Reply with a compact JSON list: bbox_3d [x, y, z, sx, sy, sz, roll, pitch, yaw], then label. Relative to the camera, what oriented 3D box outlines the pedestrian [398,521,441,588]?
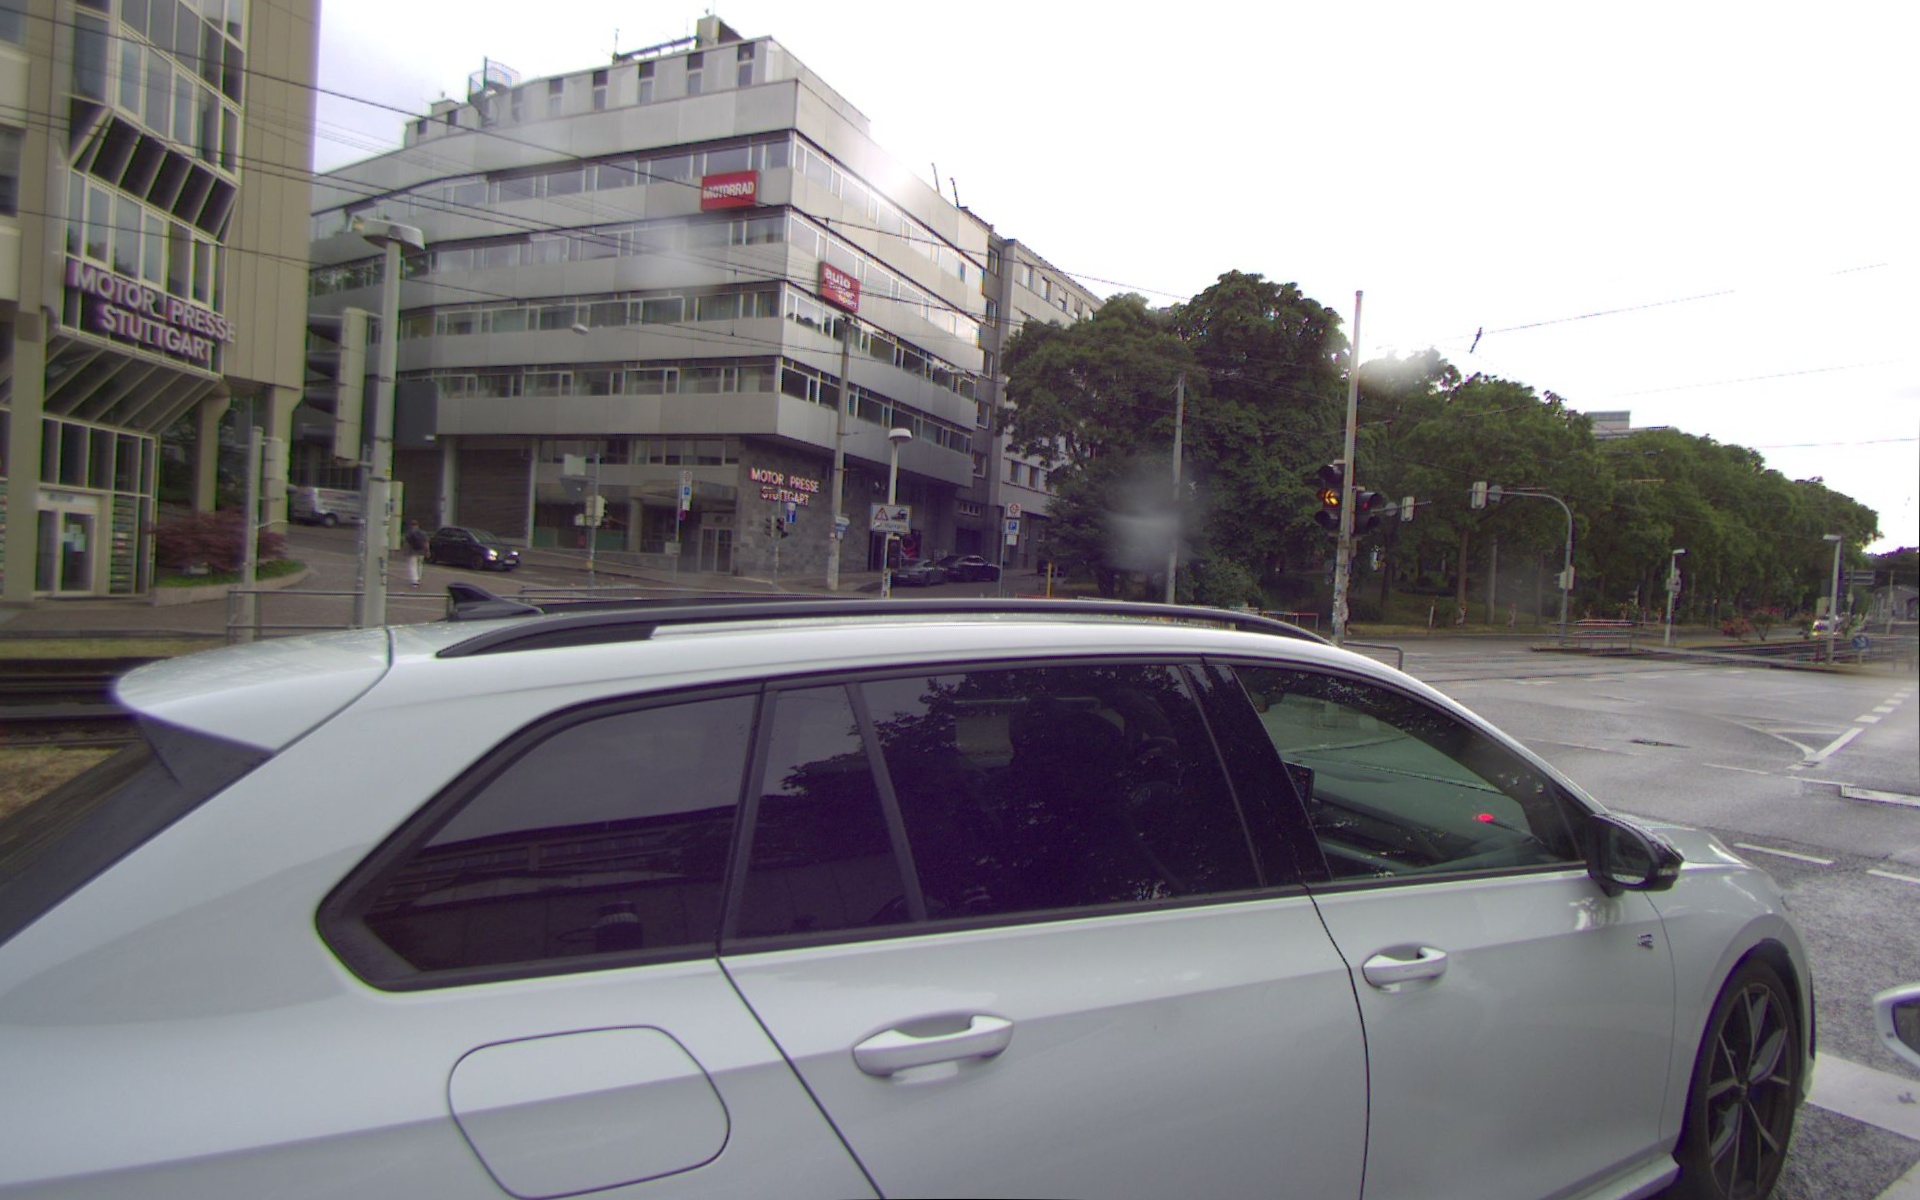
[{"bbox_3d":[-15.140,-1.261,28.127,0.630,1.811,0.808,6,3,36],"label":"pedestrian"}]

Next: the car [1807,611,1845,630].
[{"bbox_3d":[78.370,1.851,90.877,3.967,1.539,1.977,1,2,-40],"label":"car"}]

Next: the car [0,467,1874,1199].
[{"bbox_3d":[0.116,0.708,2.261,4.203,1.597,1.670,2,1,-31],"label":"car"}]

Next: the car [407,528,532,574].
[{"bbox_3d":[-18.159,-1.802,37.229,3.920,1.383,1.830,5,2,16],"label":"car"}]

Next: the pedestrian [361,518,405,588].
[{"bbox_3d":[-15.663,-1.275,27.270,0.630,1.811,0.808,6,3,36],"label":"pedestrian"}]

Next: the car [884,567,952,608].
[{"bbox_3d":[-2.062,-0.638,50.764,1.961,1.818,4.000,5,2,19],"label":"car"}]

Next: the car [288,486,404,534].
[{"bbox_3d":[-32.108,-4.683,52.679,1.963,2.040,4.831,5,2,26],"label":"car"}]

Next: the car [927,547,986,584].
[{"bbox_3d":[-0.157,-1.947,55.624,1.961,1.818,3.998,5,5,19],"label":"car"}]

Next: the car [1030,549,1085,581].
[{"bbox_3d":[6.437,-2.289,65.909,1.964,1.818,4.202,6,2,30],"label":"car"}]
